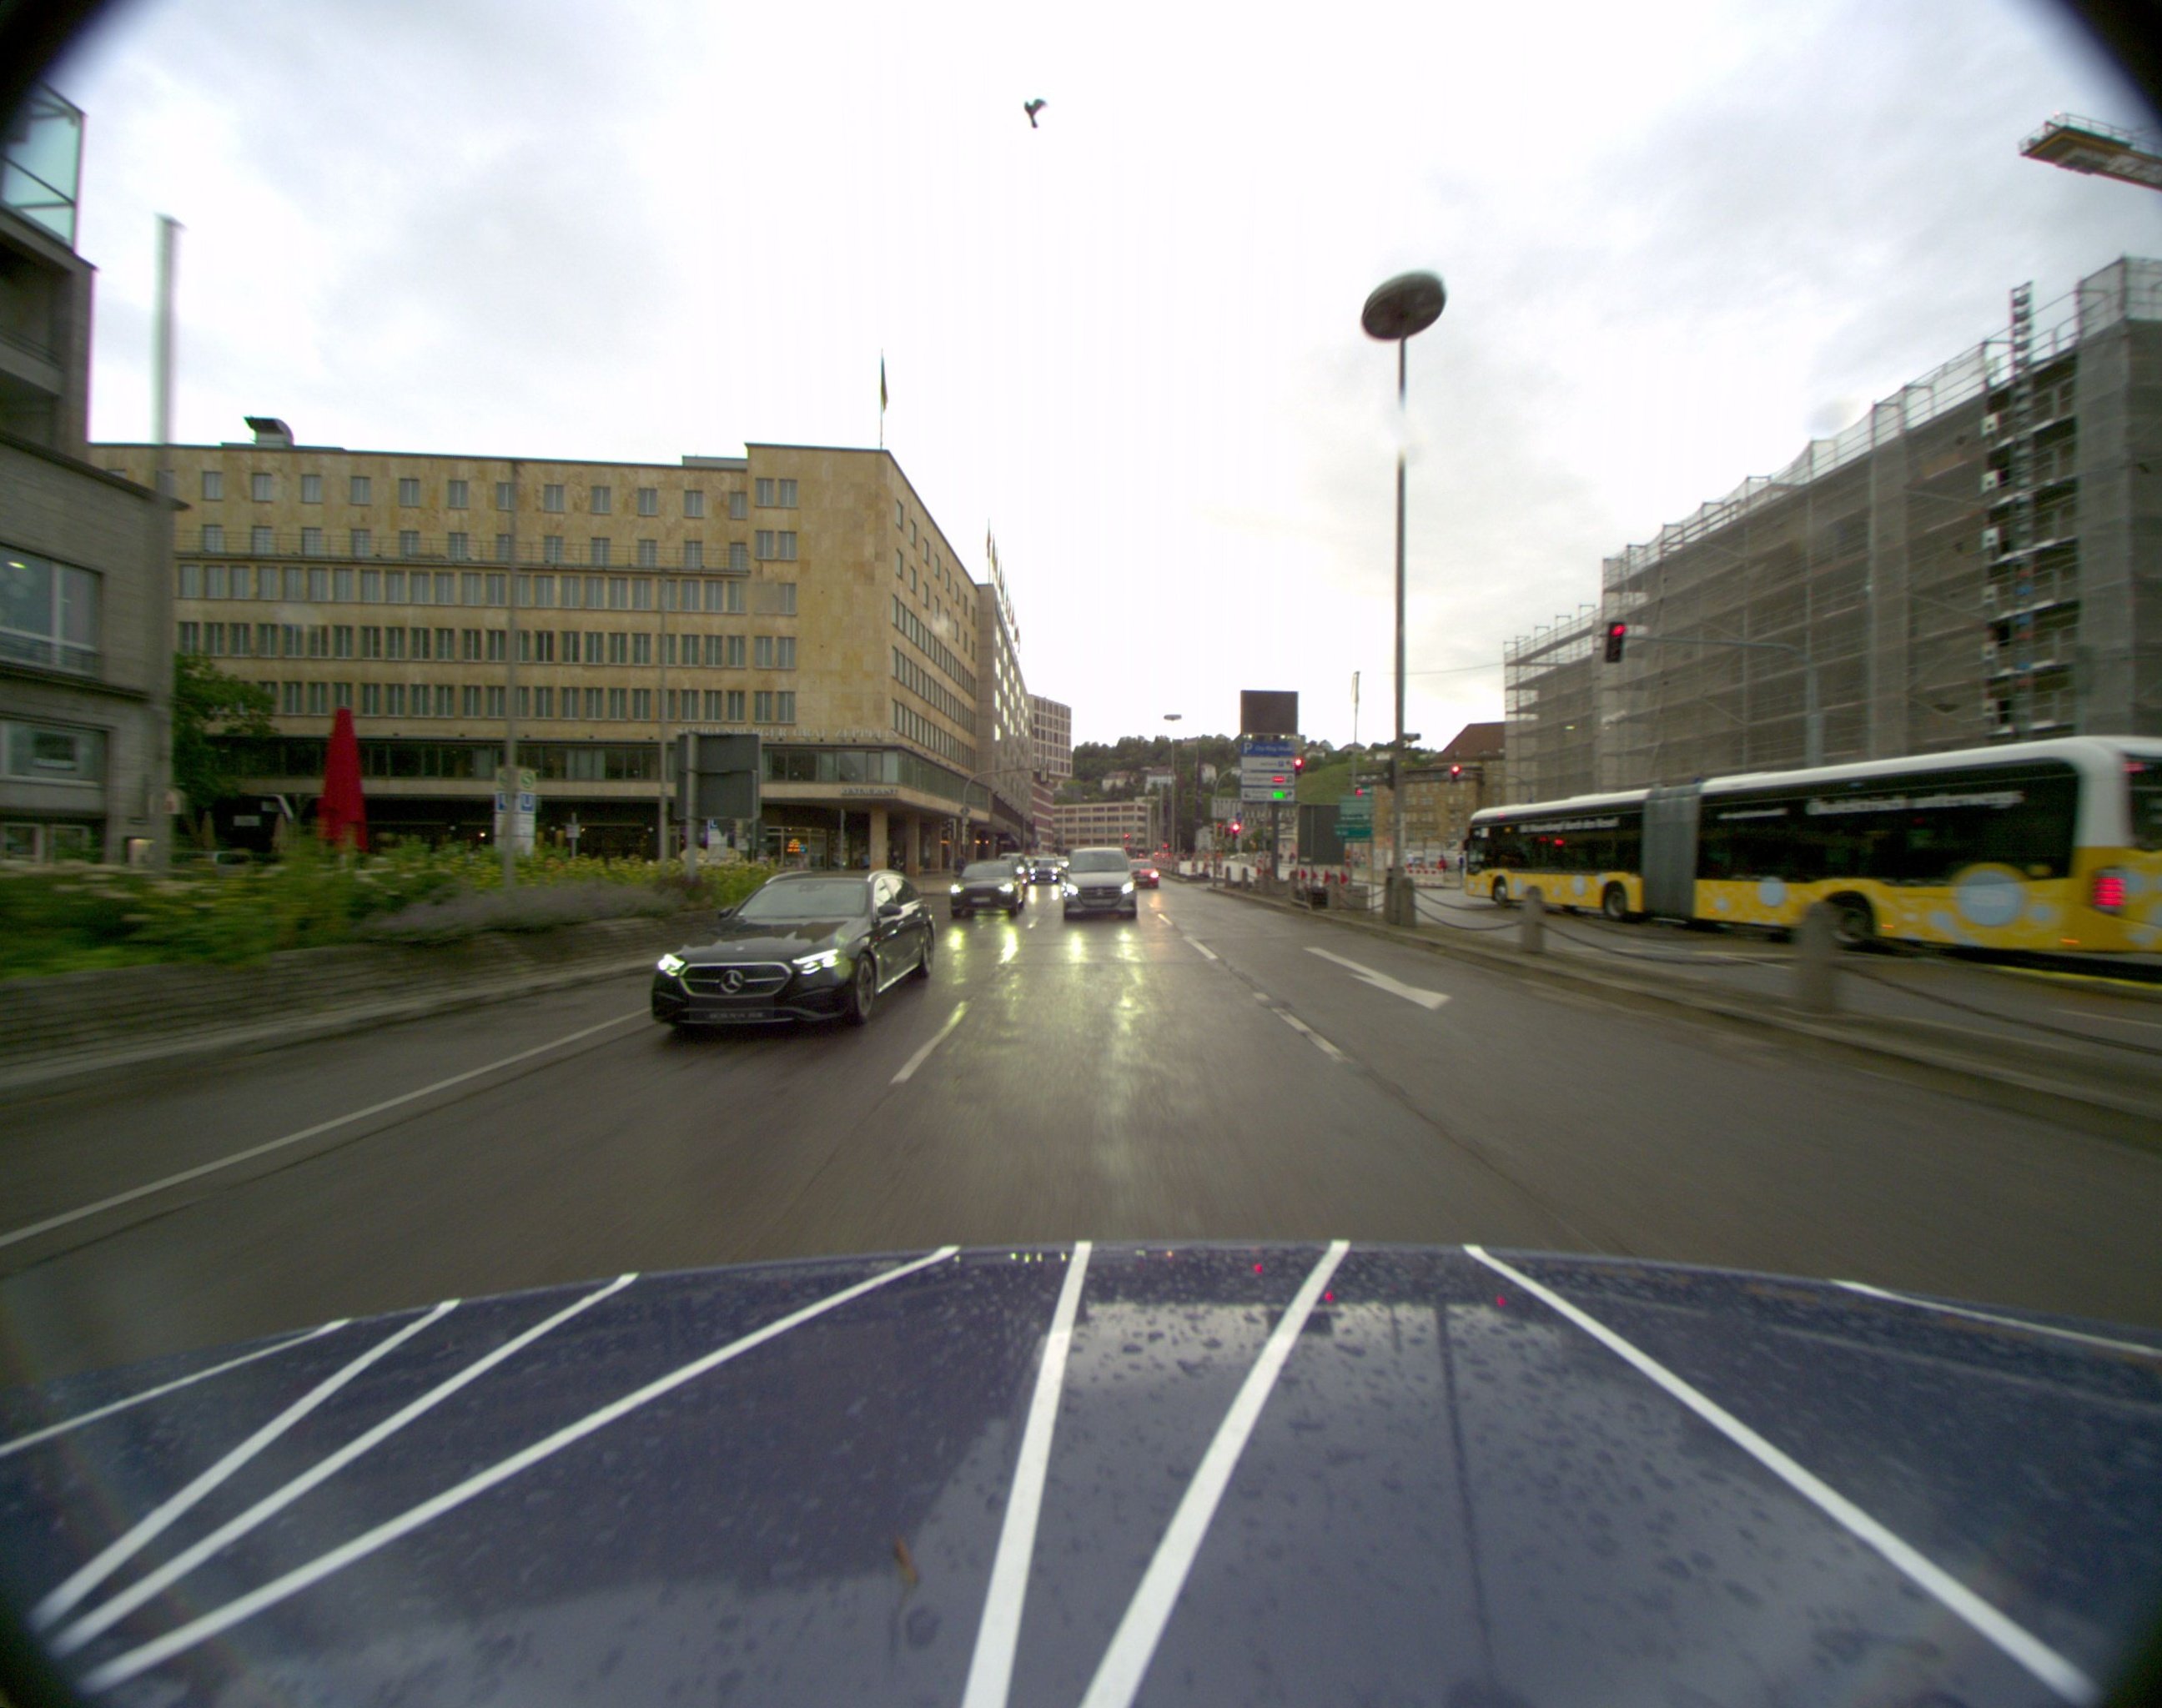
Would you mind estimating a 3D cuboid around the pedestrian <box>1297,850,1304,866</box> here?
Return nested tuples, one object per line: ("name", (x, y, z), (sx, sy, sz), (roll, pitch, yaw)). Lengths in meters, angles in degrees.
("pedestrian", (27.959, 0.450, 96.769), (0.593, 2.022, 0.686), (-1, 1, 1))

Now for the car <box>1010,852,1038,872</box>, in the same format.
("car", (-4.894, 0.658, 66.220), (1.998, 1.644, 5.134), (0, 0, 1))

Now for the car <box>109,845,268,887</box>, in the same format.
("car", (-42.418, 0.558, 36.185), (5.162, 1.914, 2.000), (0, 0, -1))

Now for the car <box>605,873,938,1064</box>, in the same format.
("car", (-3.023, 1.015, 8.696), (1.823, 1.455, 4.700), (-1, 0, 1))

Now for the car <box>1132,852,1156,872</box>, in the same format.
("car", (5.108, 0.635, 61.614), (1.672, 1.512, 3.725), (-1, 1, 1))

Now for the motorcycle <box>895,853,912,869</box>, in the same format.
("motorcycle", (-14.237, 0.550, 61.139), (0.730, 1.223, 2.536), (0, 0, 1))

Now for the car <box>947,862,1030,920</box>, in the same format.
("car", (-2.636, 1.014, 22.583), (1.876, 1.499, 4.164), (0, 0, 1))

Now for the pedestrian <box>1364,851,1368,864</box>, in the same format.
("pedestrian", (26.157, 0.341, 69.707), (0.255, 1.187, 0.390), (-1, 1, 6))

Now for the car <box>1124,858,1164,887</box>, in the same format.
("car", (3.157, 0.893, 38.618), (1.747, 1.369, 4.000), (0, 0, 1))

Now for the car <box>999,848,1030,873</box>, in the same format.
("car", (-5.198, 0.490, 60.011), (1.998, 1.873, 4.997), (0, 0, 1))

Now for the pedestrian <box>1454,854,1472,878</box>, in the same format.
("pedestrian", (25.925, 0.817, 51.576), (0.756, 1.654, 0.872), (0, 1, 2))

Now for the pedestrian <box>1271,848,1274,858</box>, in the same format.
("pedestrian", (30.332, -0.220, 120.260), (0.375, 1.606, 0.357), (-1, 1, 1))

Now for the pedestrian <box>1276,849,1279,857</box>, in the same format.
("pedestrian", (31.105, -0.222, 120.099), (0.438, 1.233, 0.413), (0, 1, 3))

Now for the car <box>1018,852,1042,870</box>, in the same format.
("car", (-4.806, 0.630, 72.197), (1.998, 1.627, 4.560), (0, 0, 1))

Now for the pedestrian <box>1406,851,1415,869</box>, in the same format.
("pedestrian", (26.217, 0.459, 60.411), (0.565, 1.435, 0.528), (0, 1, 8))

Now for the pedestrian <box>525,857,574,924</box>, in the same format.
("pedestrian", (-14.181, 0.954, 20.281), (0.699, 1.741, 0.837), (-1, 0, -2))

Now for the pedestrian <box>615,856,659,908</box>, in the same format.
("pedestrian", (-15.286, 0.960, 26.162), (0.894, 1.751, 0.986), (0, 0, 3))

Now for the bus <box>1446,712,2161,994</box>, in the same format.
("bus", (14.977, -0.032, 19.094), (2.916, 3.557, 19.078), (1, 0, 2))

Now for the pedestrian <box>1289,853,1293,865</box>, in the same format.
("pedestrian", (28.162, 0.709, 101.948), (0.438, 1.606, 0.413), (-1, 1, 1))

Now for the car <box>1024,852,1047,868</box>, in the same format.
("car", (-4.674, 0.626, 78.230), (1.998, 1.600, 4.876), (0, 0, 1))

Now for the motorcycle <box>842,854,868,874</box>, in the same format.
("motorcycle", (-16.094, 0.691, 54.290), (0.964, 1.444, 2.851), (0, 0, 1))

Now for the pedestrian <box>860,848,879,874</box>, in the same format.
("pedestrian", (-15.059, 0.468, 54.120), (1.000, 1.836, 1.109), (0, 1, 3))

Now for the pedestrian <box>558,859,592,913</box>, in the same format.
("pedestrian", (-14.530, 0.921, 21.839), (0.555, 1.520, 0.591), (0, 1, 3))

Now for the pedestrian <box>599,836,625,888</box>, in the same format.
("pedestrian", (-14.043, 0.239, 22.776), (0.424, 1.537, 0.514), (0, 1, 3))

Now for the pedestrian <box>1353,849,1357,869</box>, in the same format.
("pedestrian", (25.281, 0.457, 70.092), (0.311, 1.759, 0.346), (0, 1, 4))

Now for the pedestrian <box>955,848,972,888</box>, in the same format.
("pedestrian", (-5.646, 0.671, 36.448), (0.674, 1.907, 0.793), (-1, 1, 1))

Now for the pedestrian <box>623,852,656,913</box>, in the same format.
("pedestrian", (-13.121, 0.836, 22.615), (0.536, 1.780, 0.681), (0, 1, 3))

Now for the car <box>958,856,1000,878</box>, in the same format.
("car", (-6.814, 0.839, 51.369), (2.194, 1.405, 4.482), (0, 0, 1))

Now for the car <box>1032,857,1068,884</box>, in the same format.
("car", (-1.893, 0.987, 47.008), (1.998, 1.548, 3.908), (0, 0, 1))

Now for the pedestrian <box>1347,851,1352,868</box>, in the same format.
("pedestrian", (25.068, 0.528, 70.931), (0.400, 1.611, 0.365), (-1, 1, 5))

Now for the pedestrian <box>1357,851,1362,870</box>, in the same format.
("pedestrian", (25.651, 0.609, 69.970), (0.314, 1.759, 0.268), (-1, 1, 4))

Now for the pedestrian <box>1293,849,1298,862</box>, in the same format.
("pedestrian", (27.283, 0.229, 96.728), (0.438, 1.606, 0.413), (-1, 1, 1))

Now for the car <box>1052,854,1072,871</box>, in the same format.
("car", (-1.842, 0.812, 75.751), (1.763, 1.582, 3.842), (-1, 1, 1))

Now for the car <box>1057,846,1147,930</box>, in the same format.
("car", (0.417, 0.785, 20.383), (1.999, 1.893, 5.249), (-2, 0, -3))

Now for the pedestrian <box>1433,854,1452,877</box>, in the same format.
("pedestrian", (24.645, 0.778, 51.795), (0.953, 1.557, 0.709), (0, 1, 2))
